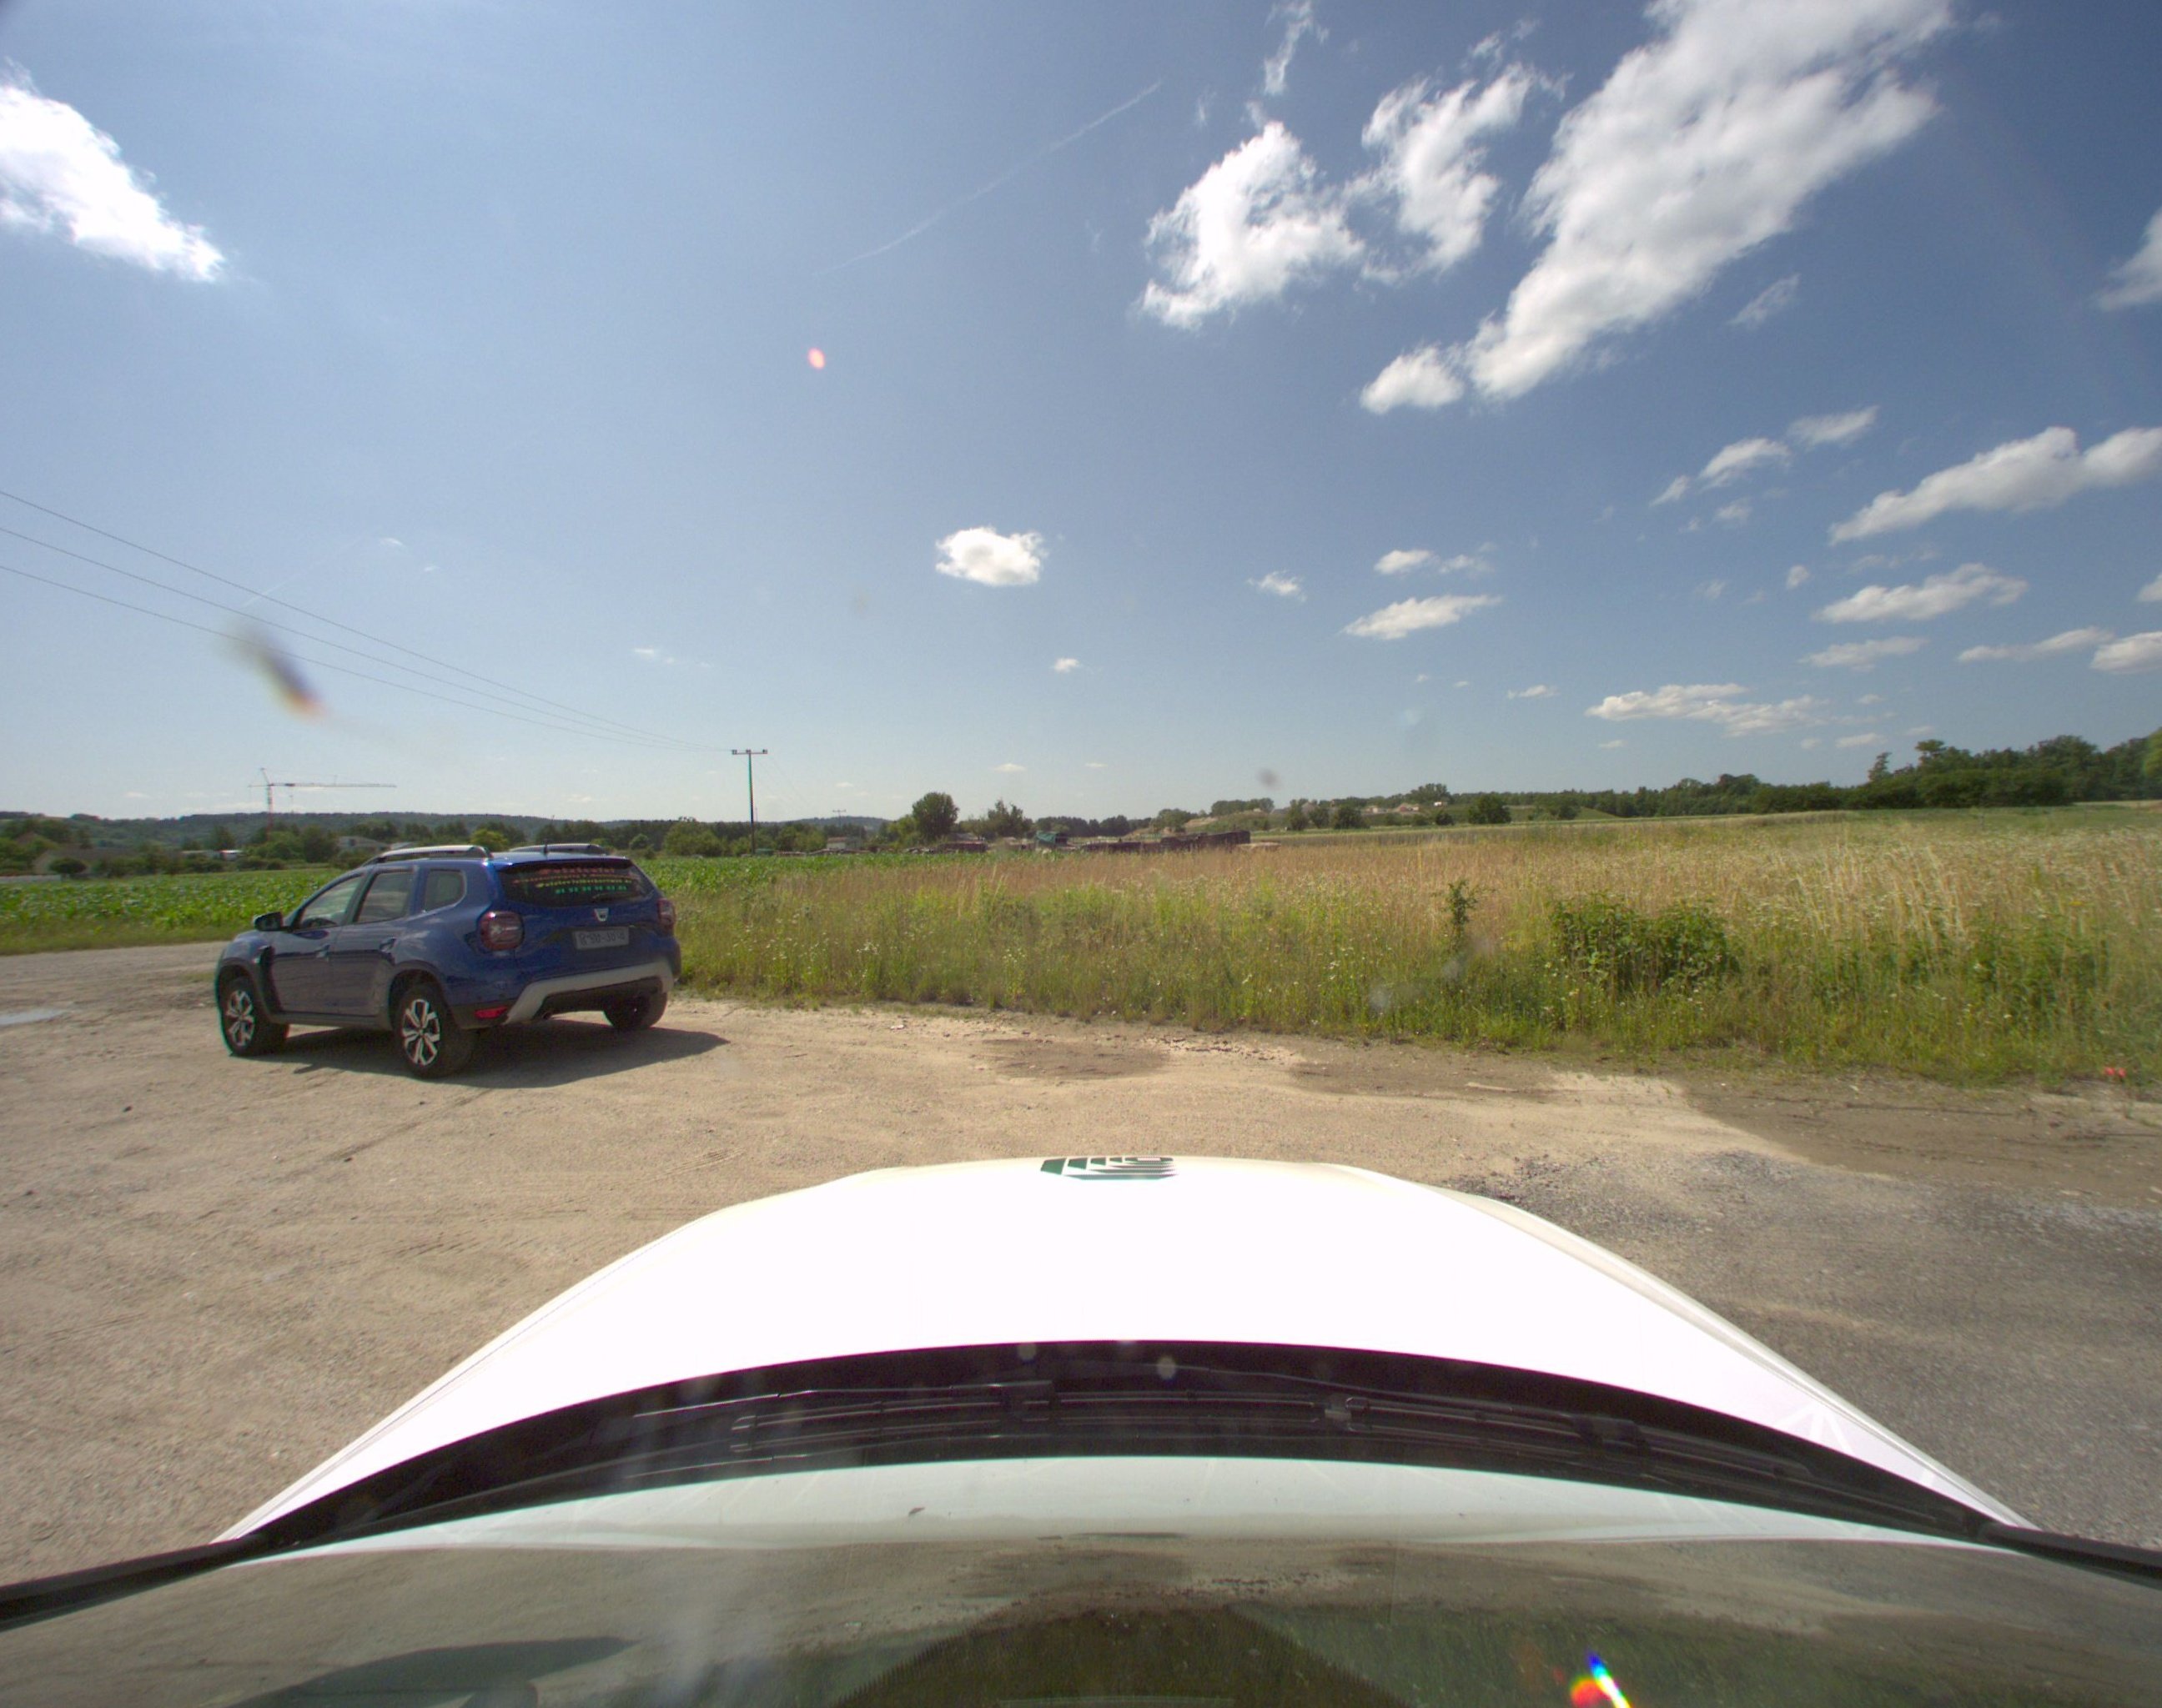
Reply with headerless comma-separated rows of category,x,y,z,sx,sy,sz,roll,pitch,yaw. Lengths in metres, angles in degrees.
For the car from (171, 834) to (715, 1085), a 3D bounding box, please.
car,-5.619,0.771,7.149,4.403,1.661,1.875,-3,0,24
